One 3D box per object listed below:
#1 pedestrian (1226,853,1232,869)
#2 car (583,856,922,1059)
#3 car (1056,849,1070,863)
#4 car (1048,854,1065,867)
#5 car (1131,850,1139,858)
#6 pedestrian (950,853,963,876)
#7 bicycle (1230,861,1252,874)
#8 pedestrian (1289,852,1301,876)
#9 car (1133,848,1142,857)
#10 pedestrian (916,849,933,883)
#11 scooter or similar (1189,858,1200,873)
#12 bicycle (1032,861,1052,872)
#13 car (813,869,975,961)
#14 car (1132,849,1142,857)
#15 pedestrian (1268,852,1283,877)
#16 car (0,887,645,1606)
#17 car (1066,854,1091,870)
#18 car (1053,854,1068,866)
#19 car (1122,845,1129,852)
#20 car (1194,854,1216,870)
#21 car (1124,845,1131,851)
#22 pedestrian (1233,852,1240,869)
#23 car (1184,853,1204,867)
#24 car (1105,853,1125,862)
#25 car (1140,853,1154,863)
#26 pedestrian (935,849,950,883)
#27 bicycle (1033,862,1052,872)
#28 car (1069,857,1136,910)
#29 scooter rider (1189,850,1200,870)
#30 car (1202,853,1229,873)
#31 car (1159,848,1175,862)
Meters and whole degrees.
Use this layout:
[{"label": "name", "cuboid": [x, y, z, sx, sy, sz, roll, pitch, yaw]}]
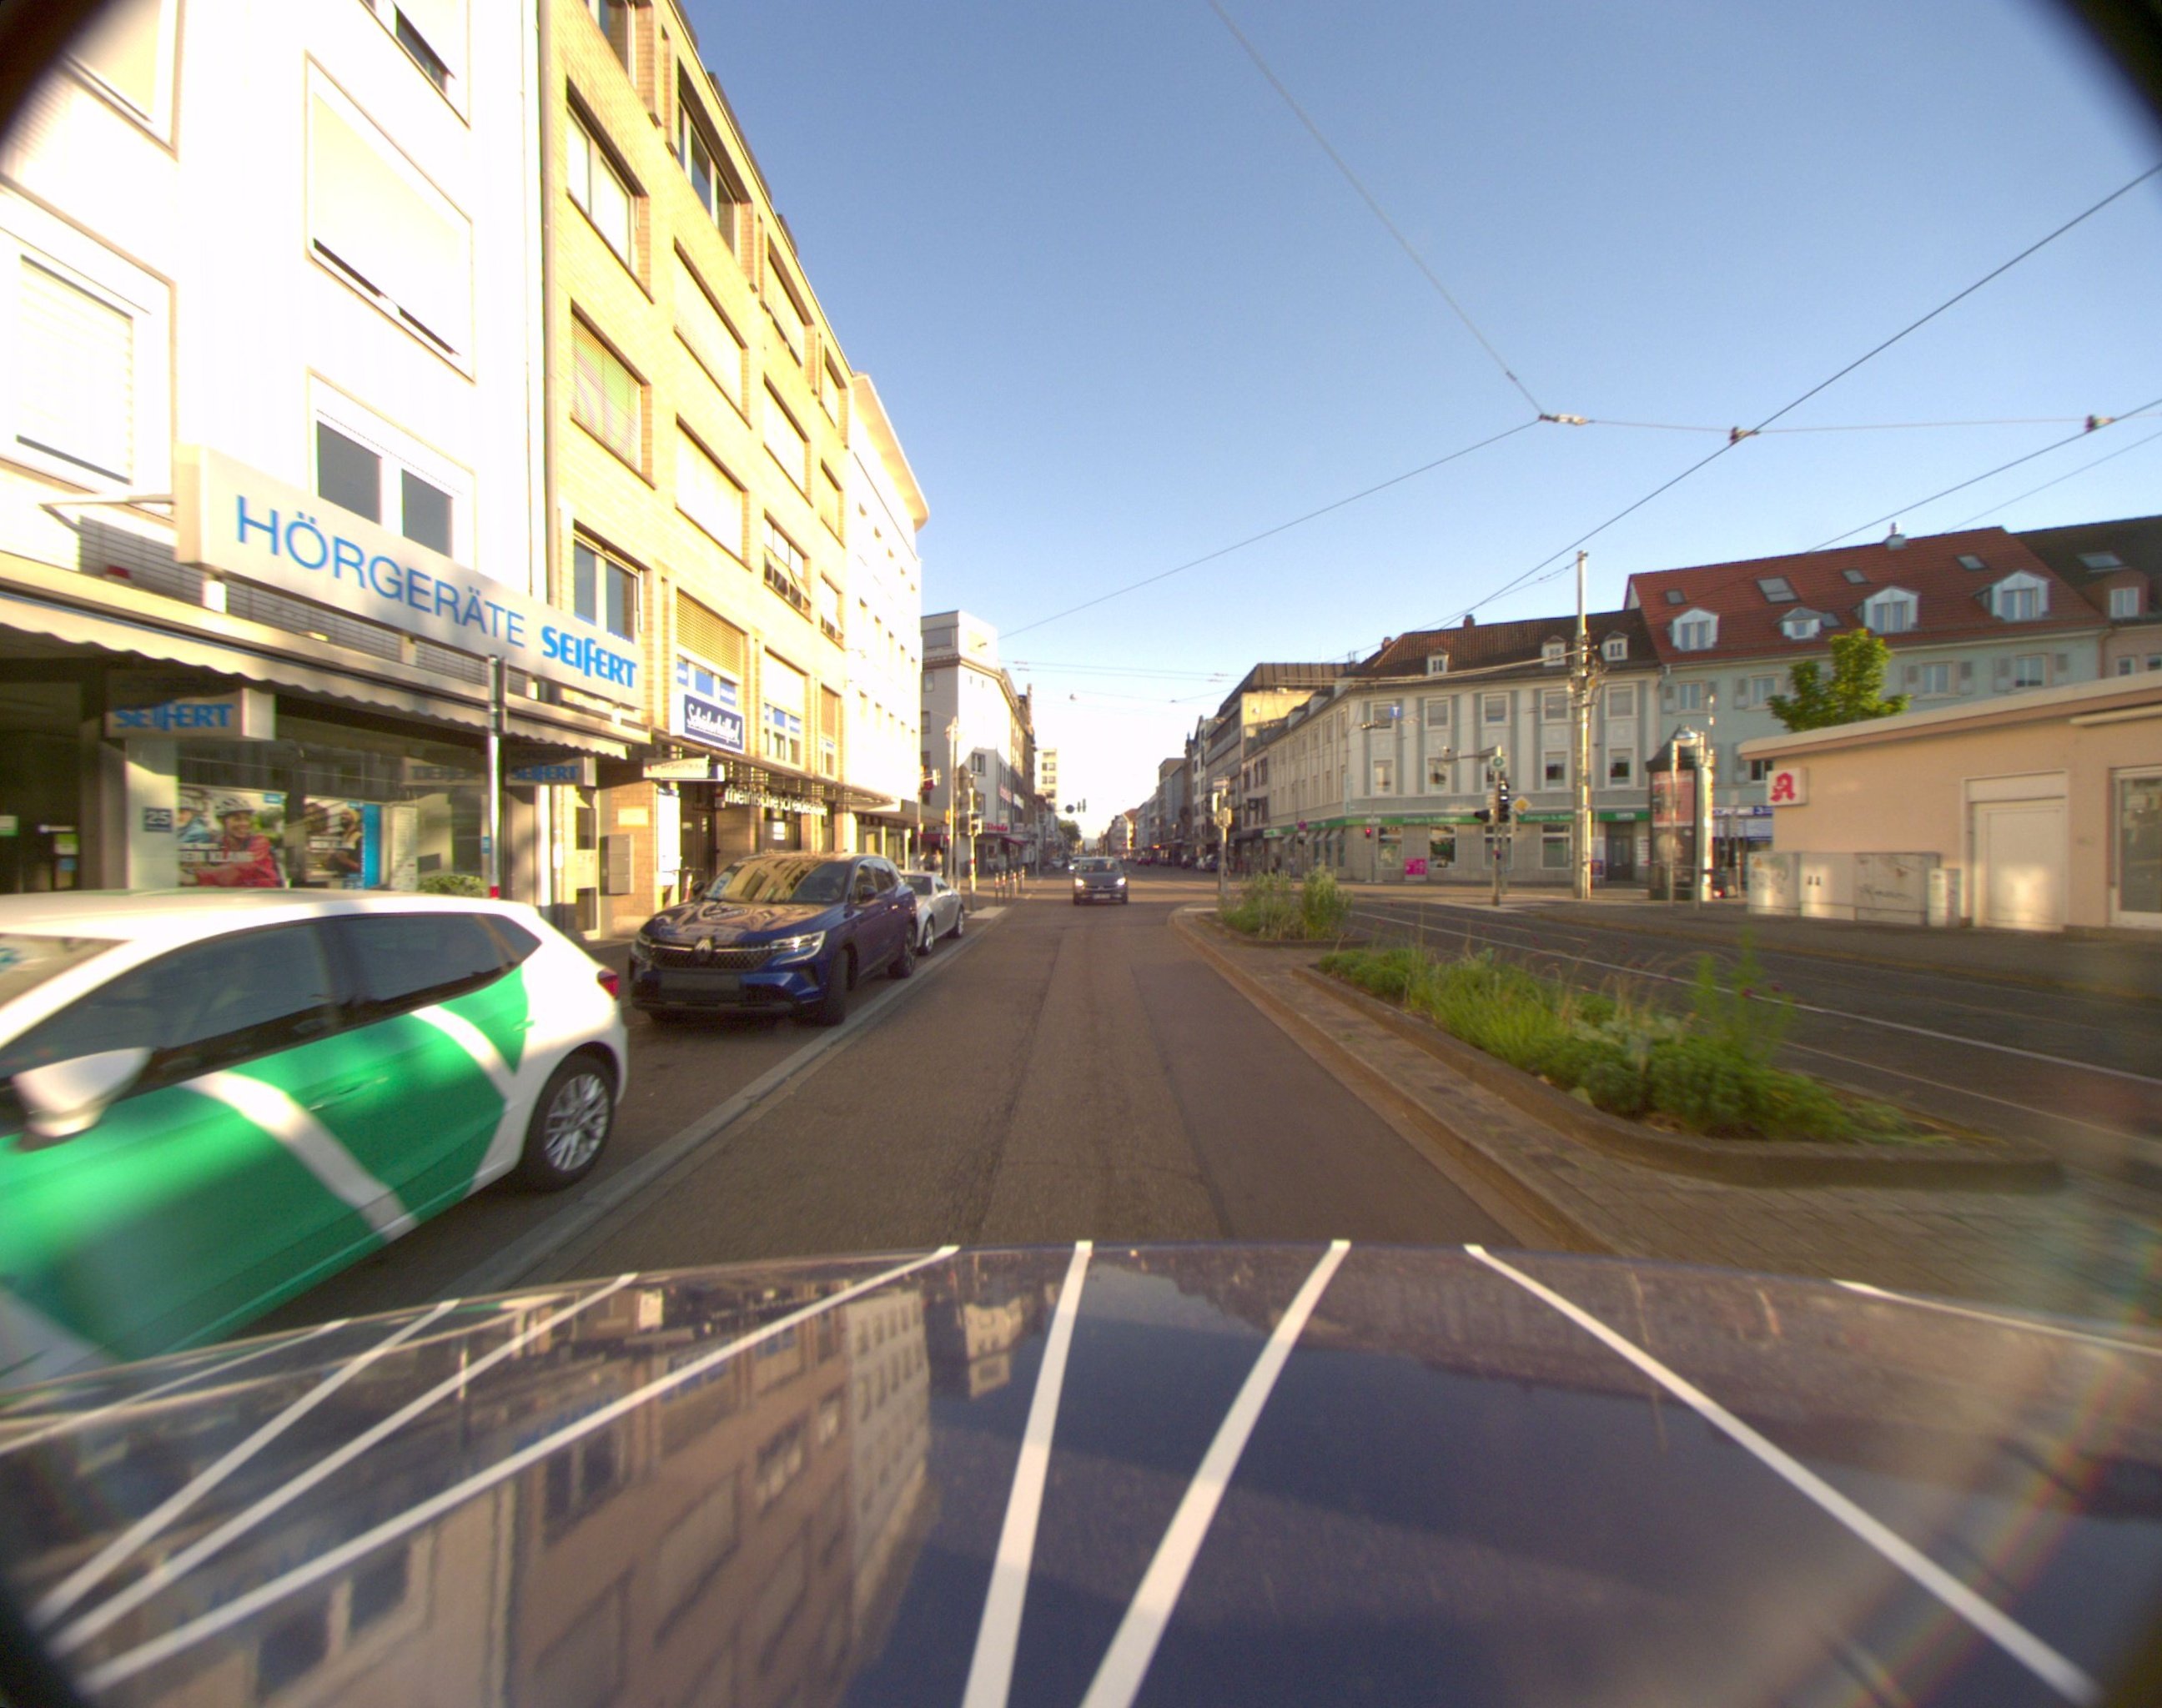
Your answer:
[{"label": "pedestrian", "cuboid": [15.432, 0.711, 79.230, 0.509, 1.675, 0.583, -1, 2, 0]}, {"label": "car", "cuboid": [-3.056, 0.831, 8.188, 1.769, 1.595, 4.287, 0, 0, 0]}, {"label": "car", "cuboid": [-2.689, 0.287, 113.261, 2.041, 2.105, 4.386, 0, 0, 0]}, {"label": "car", "cuboid": [-3.054, 0.770, 96.245, 2.041, 1.550, 4.386, 0, 0, 0]}, {"label": "car", "cuboid": [14.420, 0.021, 202.908, 1.960, 2.002, 3.998, 0, 2, -2]}, {"label": "pedestrian", "cuboid": [-8.839, 0.722, 53.903, 0.799, 1.646, 0.586, 0, 1, -3]}, {"label": "bicycle", "cuboid": [12.856, 1.084, 61.200, 1.740, 1.052, 0.499, 0, -1, 9]}, {"label": "pedestrian", "cuboid": [15.085, 0.714, 53.534, 0.826, 1.631, 0.815, -1, 0, 17]}, {"label": "car", "cuboid": [14.449, -0.470, 195.735, 1.975, 2.181, 4.132, 0, 2, 0]}, {"label": "pedestrian", "cuboid": [-8.250, 0.626, 40.073, 0.749, 1.763, 0.639, 0, 1, 4]}, {"label": "scooter or similar", "cuboid": [10.260, 1.038, 68.668, 0.544, 1.343, 1.672, 0, 0, 24]}, {"label": "bicycle", "cuboid": [-3.626, 1.173, 70.179, 1.829, 1.025, 0.443, 1, 0, -5]}, {"label": "car", "cuboid": [-3.116, 0.957, 13.550, 1.677, 1.275, 4.064, 0, 1, 3]}, {"label": "car", "cuboid": [13.988, -0.263, 189.455, 1.974, 2.002, 3.998, 0, 2, -2]}, {"label": "pedestrian", "cuboid": [13.913, 0.737, 54.298, 0.827, 1.718, 0.813, -1, 1, 0]}, {"label": "car", "cuboid": [-3.279, 0.948, 2.131, 1.735, 1.427, 4.151, 0, 1, -1]}, {"label": "car", "cuboid": [-0.172, 0.675, 66.370, 1.914, 1.350, 3.747, -1, 0, 4]}, {"label": "car", "cuboid": [-2.833, 0.845, 108.035, 2.041, 1.550, 4.386, 0, 0, 0]}, {"label": "car", "cuboid": [14.258, -1.732, 242.696, 1.999, 2.002, 3.998, 0, 2, -2]}, {"label": "car", "cuboid": [13.011, 0.868, 79.957, 1.701, 1.614, 4.000, -1, 0, 0]}, {"label": "car", "cuboid": [14.513, -1.907, 236.625, 1.999, 2.002, 3.998, 0, 2, -2]}, {"label": "pedestrian", "cuboid": [16.214, 0.689, 79.209, 0.515, 1.724, 0.601, 0, 2, 0]}, {"label": "car", "cuboid": [13.615, 0.705, 91.673, 1.819, 1.548, 3.999, 0, 2, 1]}, {"label": "car", "cuboid": [6.822, 0.636, 152.451, 3.832, 1.739, 1.807, 0, 2, 5]}, {"label": "car", "cuboid": [10.403, 0.702, 120.302, 1.895, 1.471, 4.544, 2, -1, 1]}, {"label": "pedestrian", "cuboid": [-7.263, 0.643, 39.839, 0.749, 1.763, 0.586, 0, 1, -7]}, {"label": "bicycle", "cuboid": [-3.582, 1.231, 71.255, 1.762, 0.944, 0.443, 1, 2, -6]}, {"label": "car", "cuboid": [0.737, 0.840, 23.529, 1.585, 1.445, 3.845, 0, 1, 9]}, {"label": "scooter rider", "cuboid": [10.295, 0.559, 68.703, 0.812, 1.797, 0.789, 1, 1, 23]}, {"label": "car", "cuboid": [13.051, 0.804, 73.854, 1.915, 1.785, 4.128, -2, 1, 0]}, {"label": "car", "cuboid": [12.855, 0.177, 114.230, 1.998, 2.002, 3.999, 0, 2, 1]}]
